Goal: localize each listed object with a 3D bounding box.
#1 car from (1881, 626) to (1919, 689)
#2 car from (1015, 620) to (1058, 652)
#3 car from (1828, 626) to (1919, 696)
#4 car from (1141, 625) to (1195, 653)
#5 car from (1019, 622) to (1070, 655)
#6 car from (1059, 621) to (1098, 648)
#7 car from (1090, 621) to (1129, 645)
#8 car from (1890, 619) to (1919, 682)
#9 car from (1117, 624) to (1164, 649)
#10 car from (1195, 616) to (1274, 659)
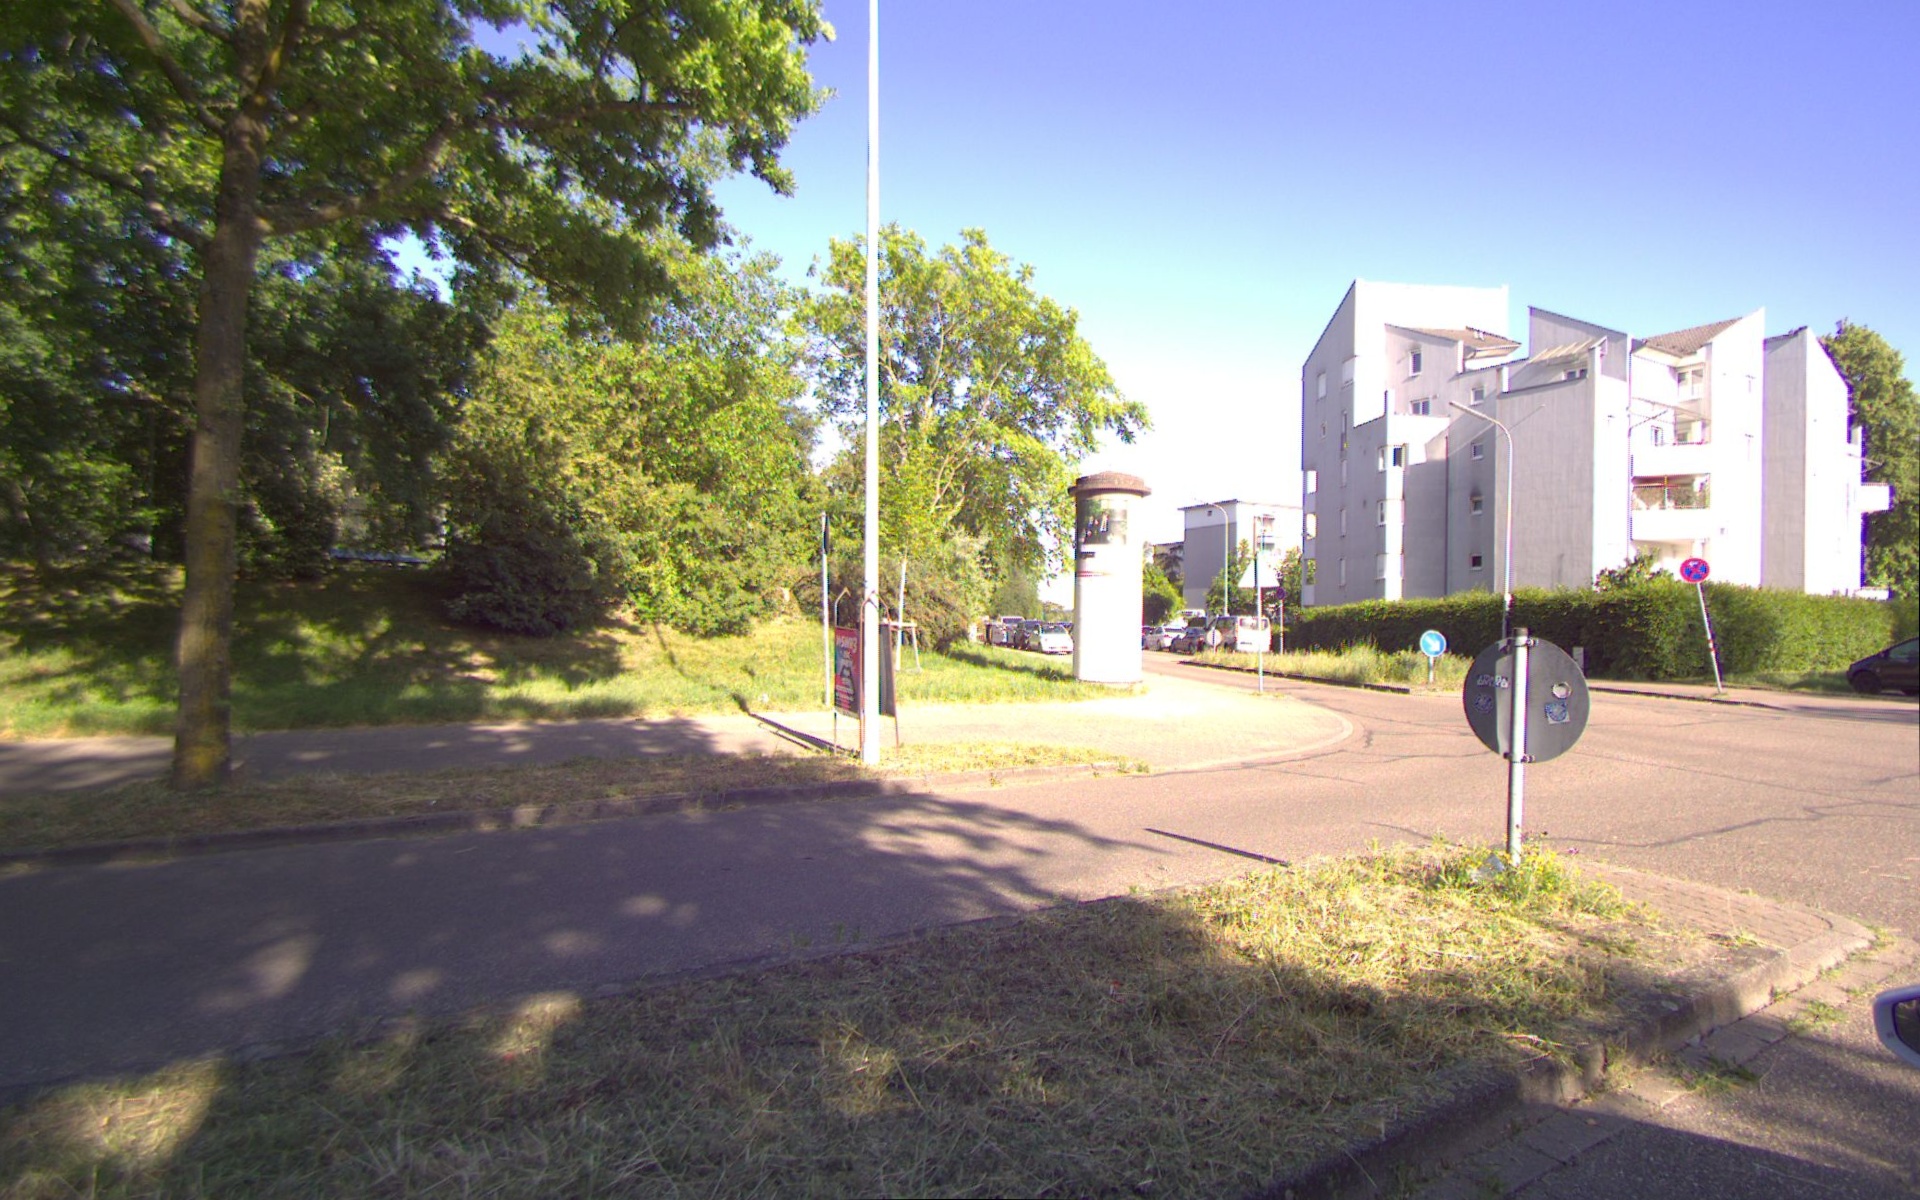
[{"bbox_3d":[24.081,1.360,23.314,1.624,1.516,3.679,0,-2,-17],"label":"car"},{"bbox_3d":[4.087,1.927,54.293,1.648,1.660,4.248,0,-1,-5],"label":"car"},{"bbox_3d":[21.768,1.359,22.285,1.674,1.486,3.525,0,-1,-13],"label":"car"},{"bbox_3d":[12.052,2.256,58.468,1.879,1.508,4.372,1,-1,-5],"label":"car"},{"bbox_3d":[4.105,1.858,49.105,1.602,1.548,3.413,1,-1,-11],"label":"car"},{"bbox_3d":[7.809,2.267,66.639,1.847,1.665,4.074,1,-1,-4],"label":"car"},{"bbox_3d":[10.876,2.406,73.538,1.879,1.688,4.372,1,-1,-5],"label":"car"},{"bbox_3d":[27.283,1.319,25.587,1.760,1.676,4.979,1,-2,-24],"label":"car"},{"bbox_3d":[11.515,2.335,64.297,1.879,1.508,4.372,1,-1,-5],"label":"car"},{"bbox_3d":[13.090,1.767,48.162,1.963,1.937,4.949,1,-1,-6],"label":"car"}]
